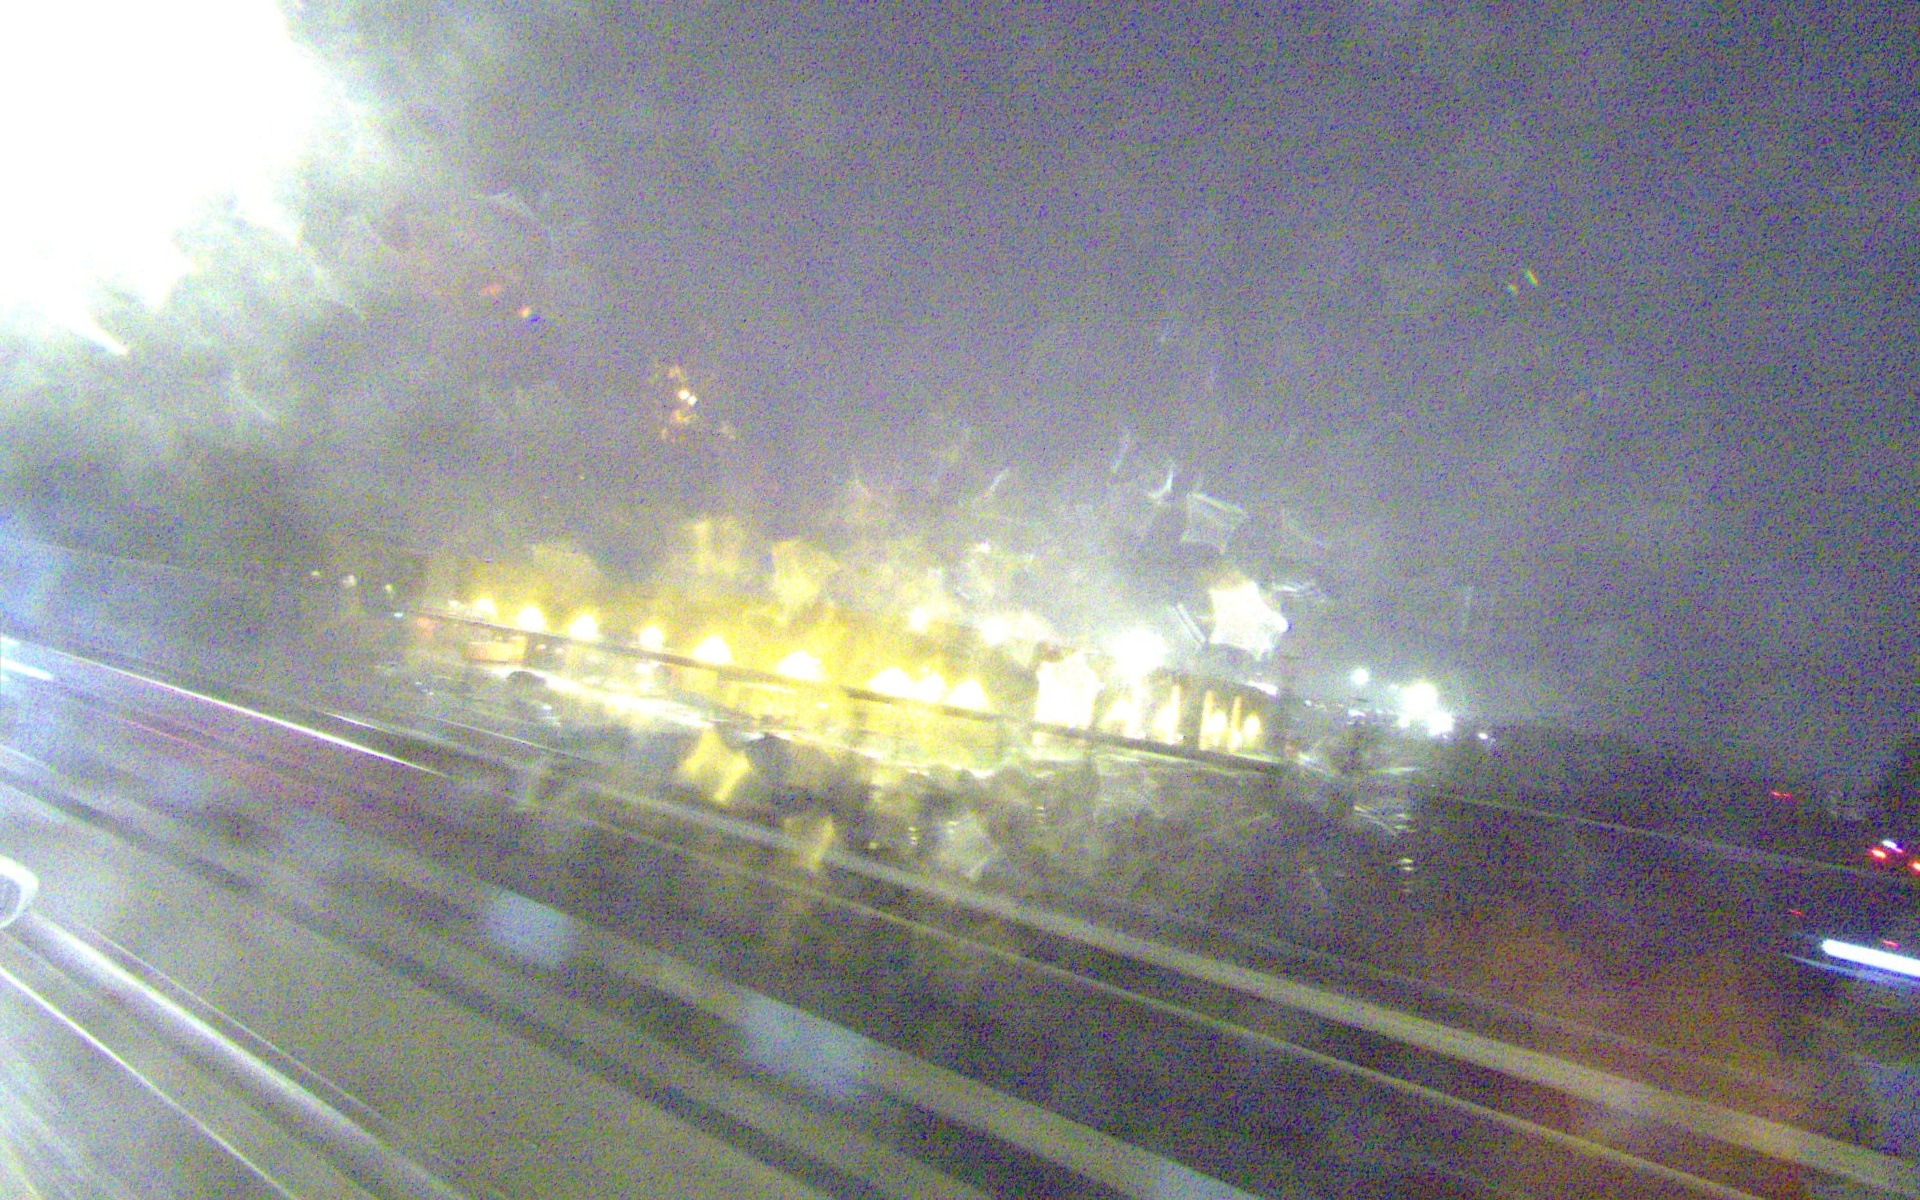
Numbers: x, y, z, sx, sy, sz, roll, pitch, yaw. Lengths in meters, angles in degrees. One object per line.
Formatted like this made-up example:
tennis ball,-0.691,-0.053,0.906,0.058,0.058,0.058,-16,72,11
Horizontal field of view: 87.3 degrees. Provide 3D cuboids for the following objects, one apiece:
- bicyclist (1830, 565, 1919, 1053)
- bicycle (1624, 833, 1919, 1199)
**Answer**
bicyclist,3.099,0.635,2.865,0.752,1.365,0.453,7,-1,32
bicycle,3.159,1.411,2.752,2.136,1.046,0.485,6,-1,33
